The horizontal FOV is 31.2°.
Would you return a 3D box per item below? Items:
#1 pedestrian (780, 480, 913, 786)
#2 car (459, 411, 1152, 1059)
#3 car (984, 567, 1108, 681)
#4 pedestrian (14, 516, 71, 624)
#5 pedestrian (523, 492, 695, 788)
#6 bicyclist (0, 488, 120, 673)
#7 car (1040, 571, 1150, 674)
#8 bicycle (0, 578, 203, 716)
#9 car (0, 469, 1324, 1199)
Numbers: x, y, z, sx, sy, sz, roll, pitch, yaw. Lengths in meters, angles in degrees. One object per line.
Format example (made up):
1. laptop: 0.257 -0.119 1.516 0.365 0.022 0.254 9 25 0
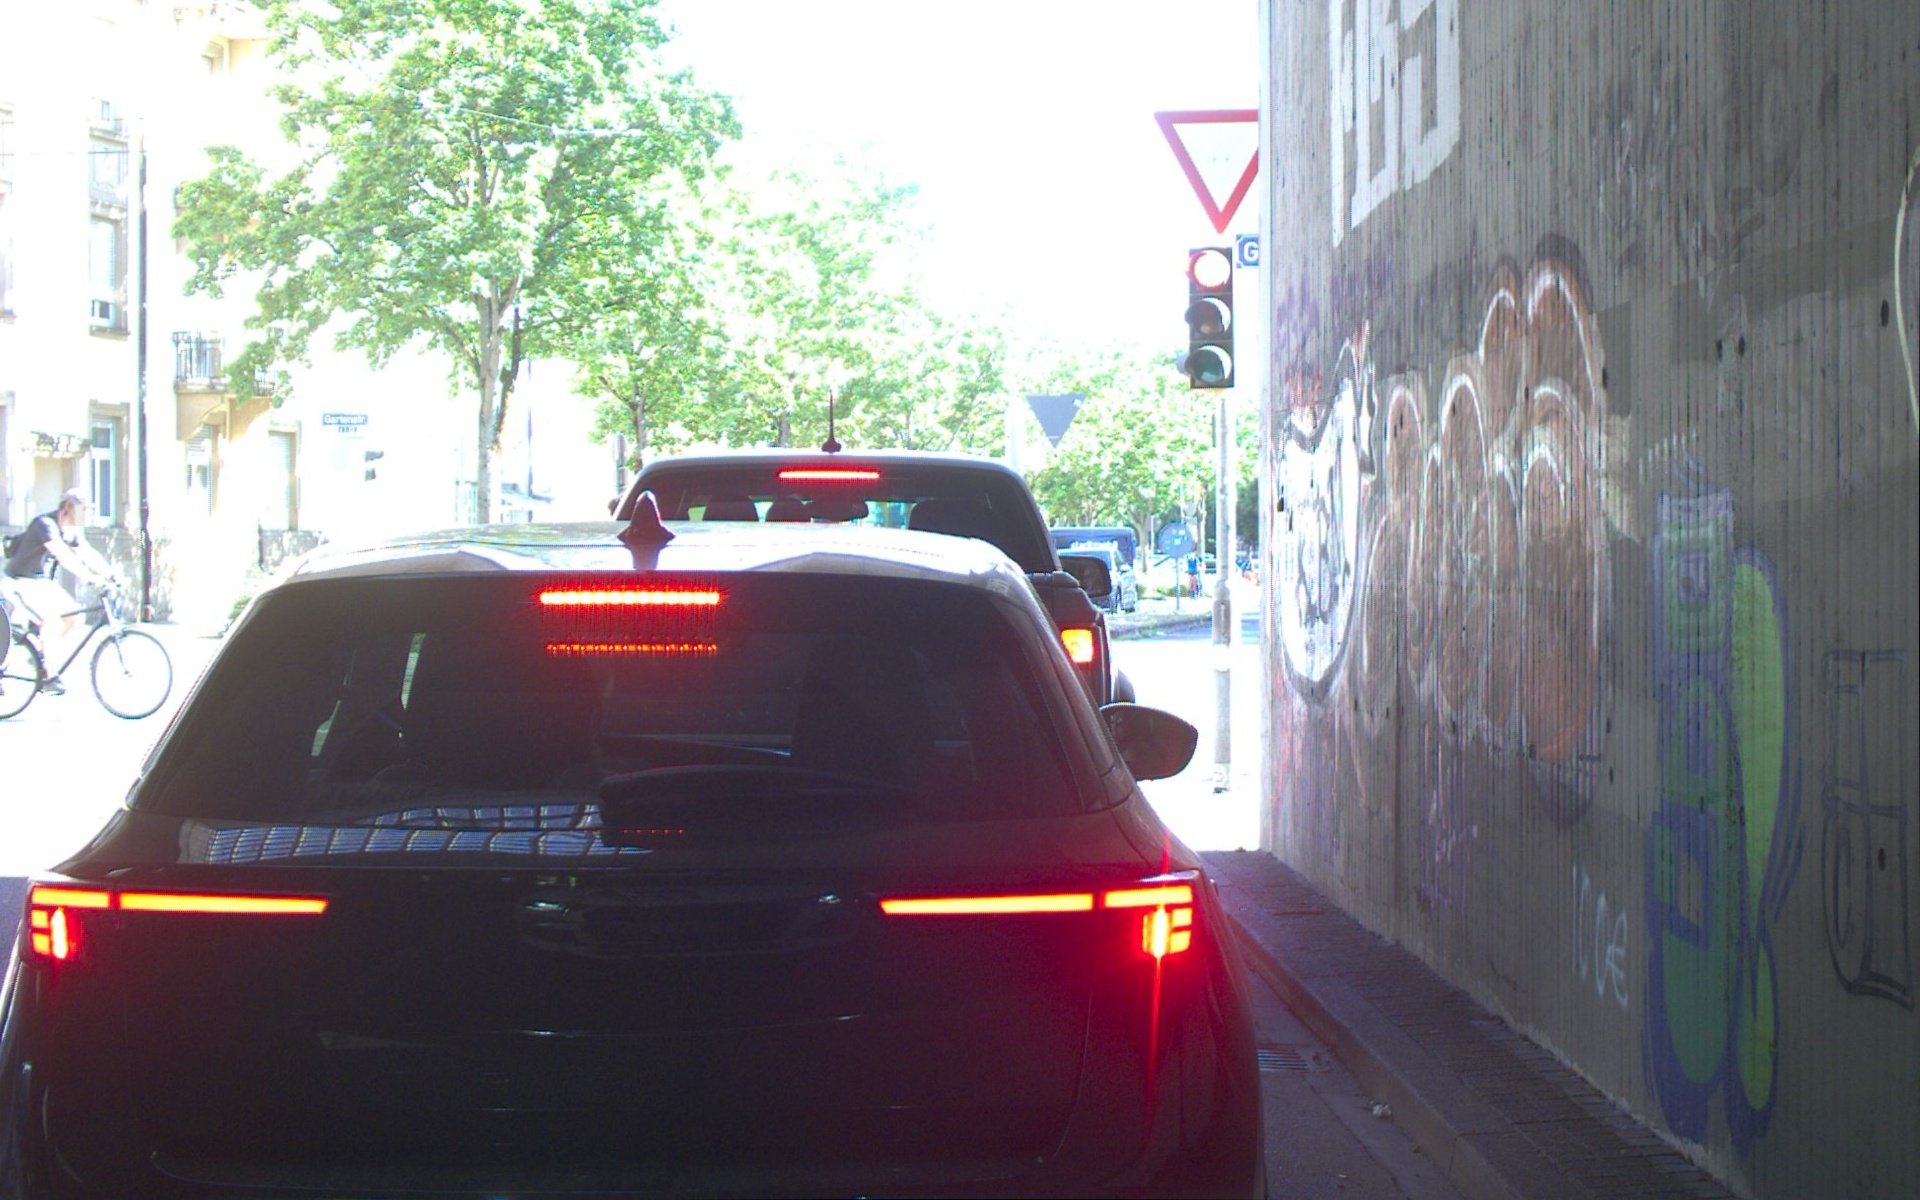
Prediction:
1. pedestrian: -0.649 0.182 19.943 0.731 1.728 0.874 1 0 -1
2. car: -0.466 0.352 11.957 1.993 1.865 4.000 0 1 -1
3. car: 1.593 0.402 62.310 1.994 1.963 4.163 1 1 5
4. pedestrian: -14.124 -0.463 52.951 0.672 1.632 0.740 1 0 -1
5. pedestrian: -2.130 0.232 20.945 0.929 1.756 0.794 1 0 1
6. bicyclist: -7.071 -0.151 26.912 0.738 1.418 0.685 -1 0 6
7. car: 2.725 0.416 68.434 1.994 1.963 4.163 1 1 5
8. bicycle: -7.009 0.365 26.887 1.990 1.046 0.718 -1 0 7
9. car: -0.483 0.565 6.104 1.764 1.566 4.001 1 2 -1
